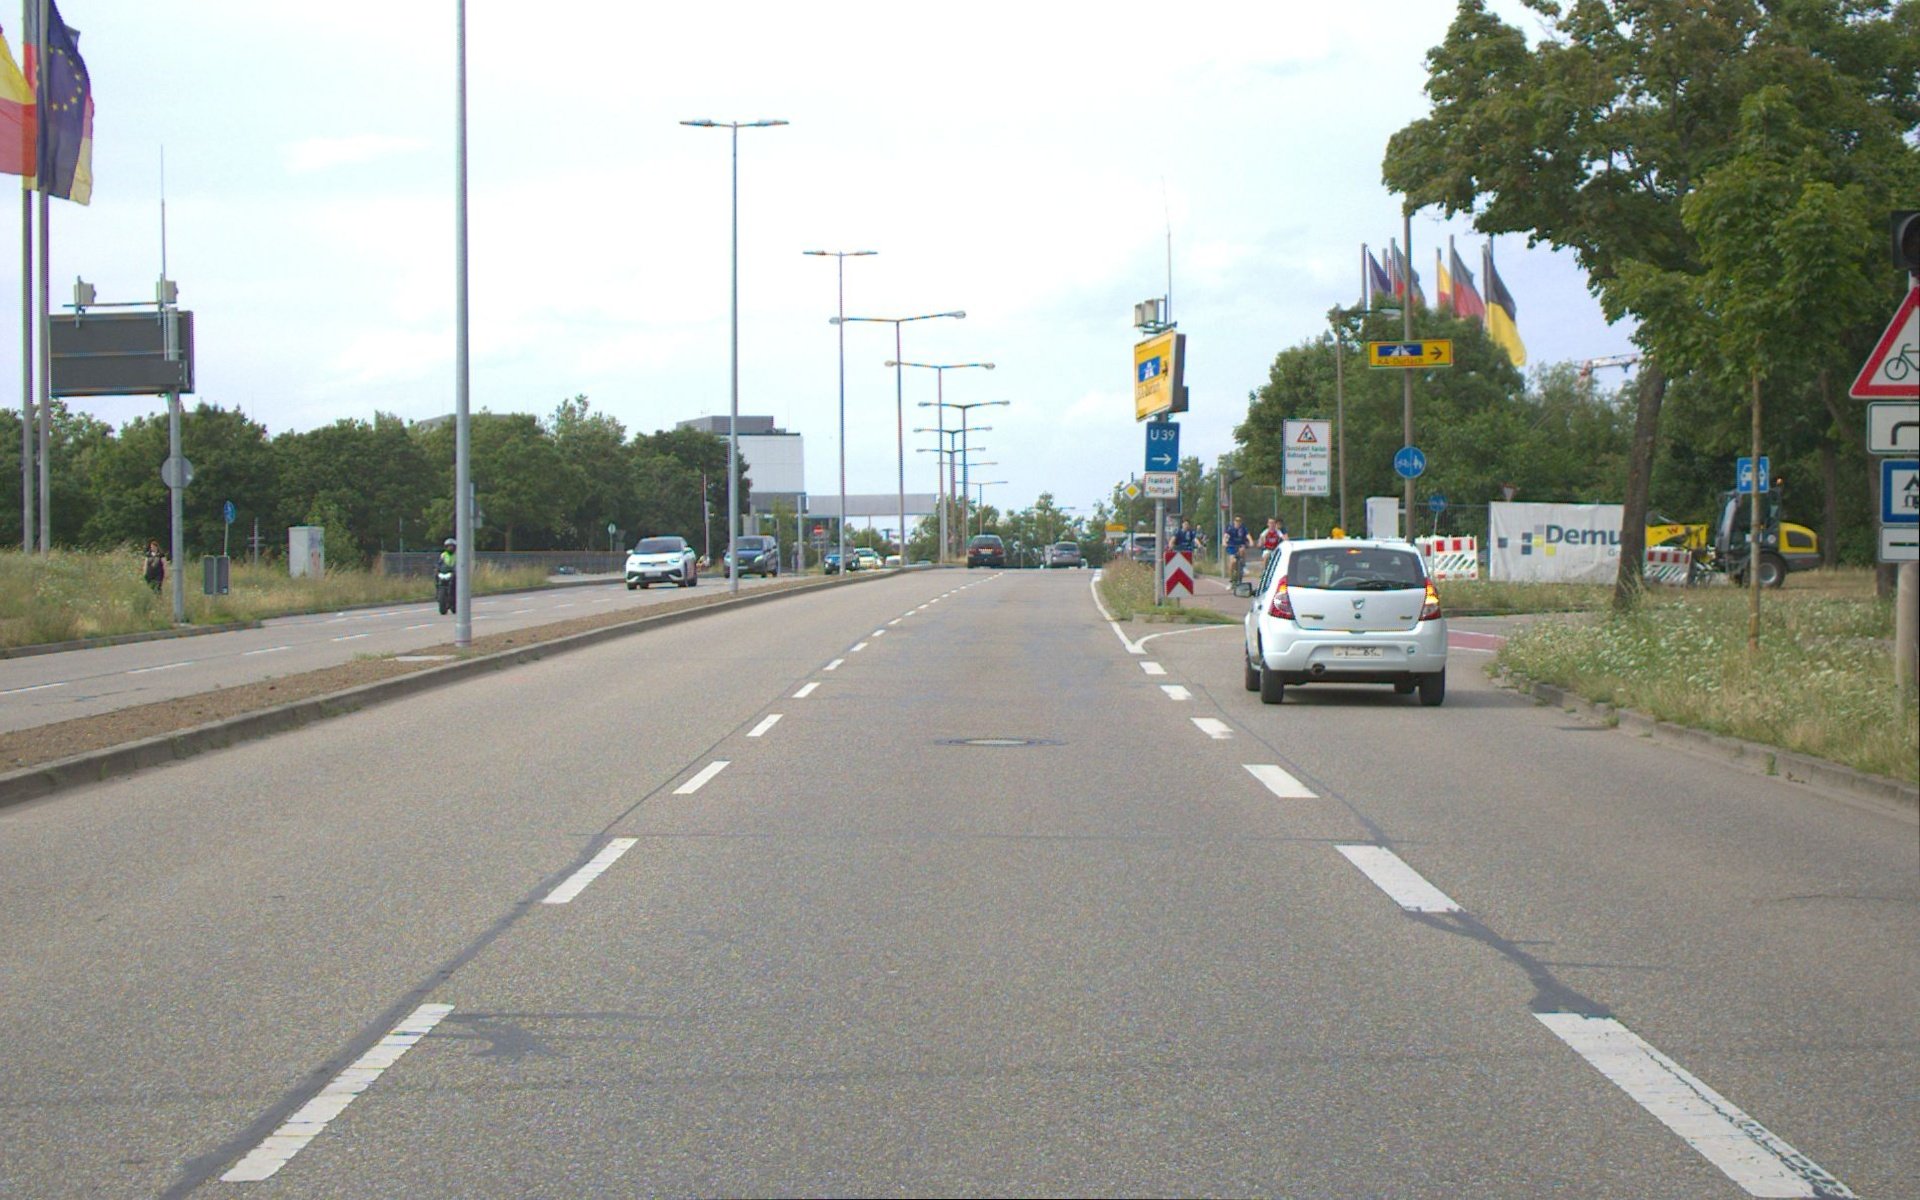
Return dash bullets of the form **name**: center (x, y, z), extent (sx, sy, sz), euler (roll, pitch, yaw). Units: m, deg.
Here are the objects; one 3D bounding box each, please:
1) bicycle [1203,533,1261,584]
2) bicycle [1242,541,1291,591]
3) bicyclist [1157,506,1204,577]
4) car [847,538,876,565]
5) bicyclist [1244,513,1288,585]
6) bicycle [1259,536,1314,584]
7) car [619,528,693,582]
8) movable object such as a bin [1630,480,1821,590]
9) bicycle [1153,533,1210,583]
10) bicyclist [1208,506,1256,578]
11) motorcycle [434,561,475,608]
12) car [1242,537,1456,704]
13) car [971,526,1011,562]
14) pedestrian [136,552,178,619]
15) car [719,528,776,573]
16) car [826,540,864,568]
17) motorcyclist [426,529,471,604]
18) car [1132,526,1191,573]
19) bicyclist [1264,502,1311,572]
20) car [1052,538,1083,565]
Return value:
- **bicycle**: center (5.826, -0.895, 73.755), extent (0.595, 1.033, 2.196), euler (2, 1, -12)
- **bicycle**: center (6.322, -0.704, 70.883), extent (0.620, 1.002, 1.788), euler (-2, 1, -7)
- **bicyclist**: center (4.726, -1.247, 73.628), extent (0.741, 1.513, 0.958), euler (1, 0, -13)
- **car**: center (-6.066, -2.987, 212.284), extent (1.549, 1.572, 3.690), euler (-2, 1, 2)
- **bicyclist**: center (6.321, -1.044, 70.974), extent (0.740, 1.468, 0.806), euler (1, 0, -6)
- **bicycle**: center (7.011, -0.860, 73.908), extent (0.620, 1.002, 1.788), euler (-2, 1, -12)
- **car**: center (-9.632, -1.453, 109.335), extent (1.847, 1.595, 4.561), euler (-1, 2, 1)
- **movable object such as a bin**: center (19.376, -1.638, 87.173), extent (4.502, 2.680, 2.101), euler (1, 0, 7)
- **bicycle**: center (4.738, -0.911, 73.616), extent (0.620, 1.002, 2.103), euler (2, 1, -12)
- **bicyclist**: center (5.833, -1.240, 73.809), extent (0.741, 1.513, 0.958), euler (1, 0, -13)
- **motorcycle**: center (-10.833, -0.333, 73.764), extent (0.522, 0.963, 2.220), euler (-1, 1, 0)
- **car**: center (3.653, 0.157, 32.859), extent (1.847, 1.497, 4.000), euler (0, 1, 4)
- **car**: center (1.481, -2.655, 164.210), extent (1.731, 1.647, 4.114), euler (0, 0, 3)
- **pedestrian**: center (-20.617, -0.381, 88.289), extent (0.865, 1.687, 0.679), euler (-2, 1, 0)
- **car**: center (-9.626, -2.265, 156.217), extent (1.847, 1.887, 5.504), euler (-3, 1, 3)
- **car**: center (-6.303, -2.532, 189.040), extent (1.763, 1.436, 4.177), euler (-2, 1, 2)
- **motorcyclist**: center (-10.962, -0.726, 73.718), extent (0.770, 1.582, 0.896), euler (-2, 1, 0)
- **car**: center (7.425, -1.854, 127.116), extent (1.730, 1.647, 4.115), euler (0, 0, -3)
- **bicyclist**: center (7.032, -1.349, 73.868), extent (0.741, 1.482, 0.958), euler (1, 0, -12)
- **car**: center (6.206, -2.813, 199.225), extent (1.730, 1.521, 4.115), euler (1, 0, 1)
